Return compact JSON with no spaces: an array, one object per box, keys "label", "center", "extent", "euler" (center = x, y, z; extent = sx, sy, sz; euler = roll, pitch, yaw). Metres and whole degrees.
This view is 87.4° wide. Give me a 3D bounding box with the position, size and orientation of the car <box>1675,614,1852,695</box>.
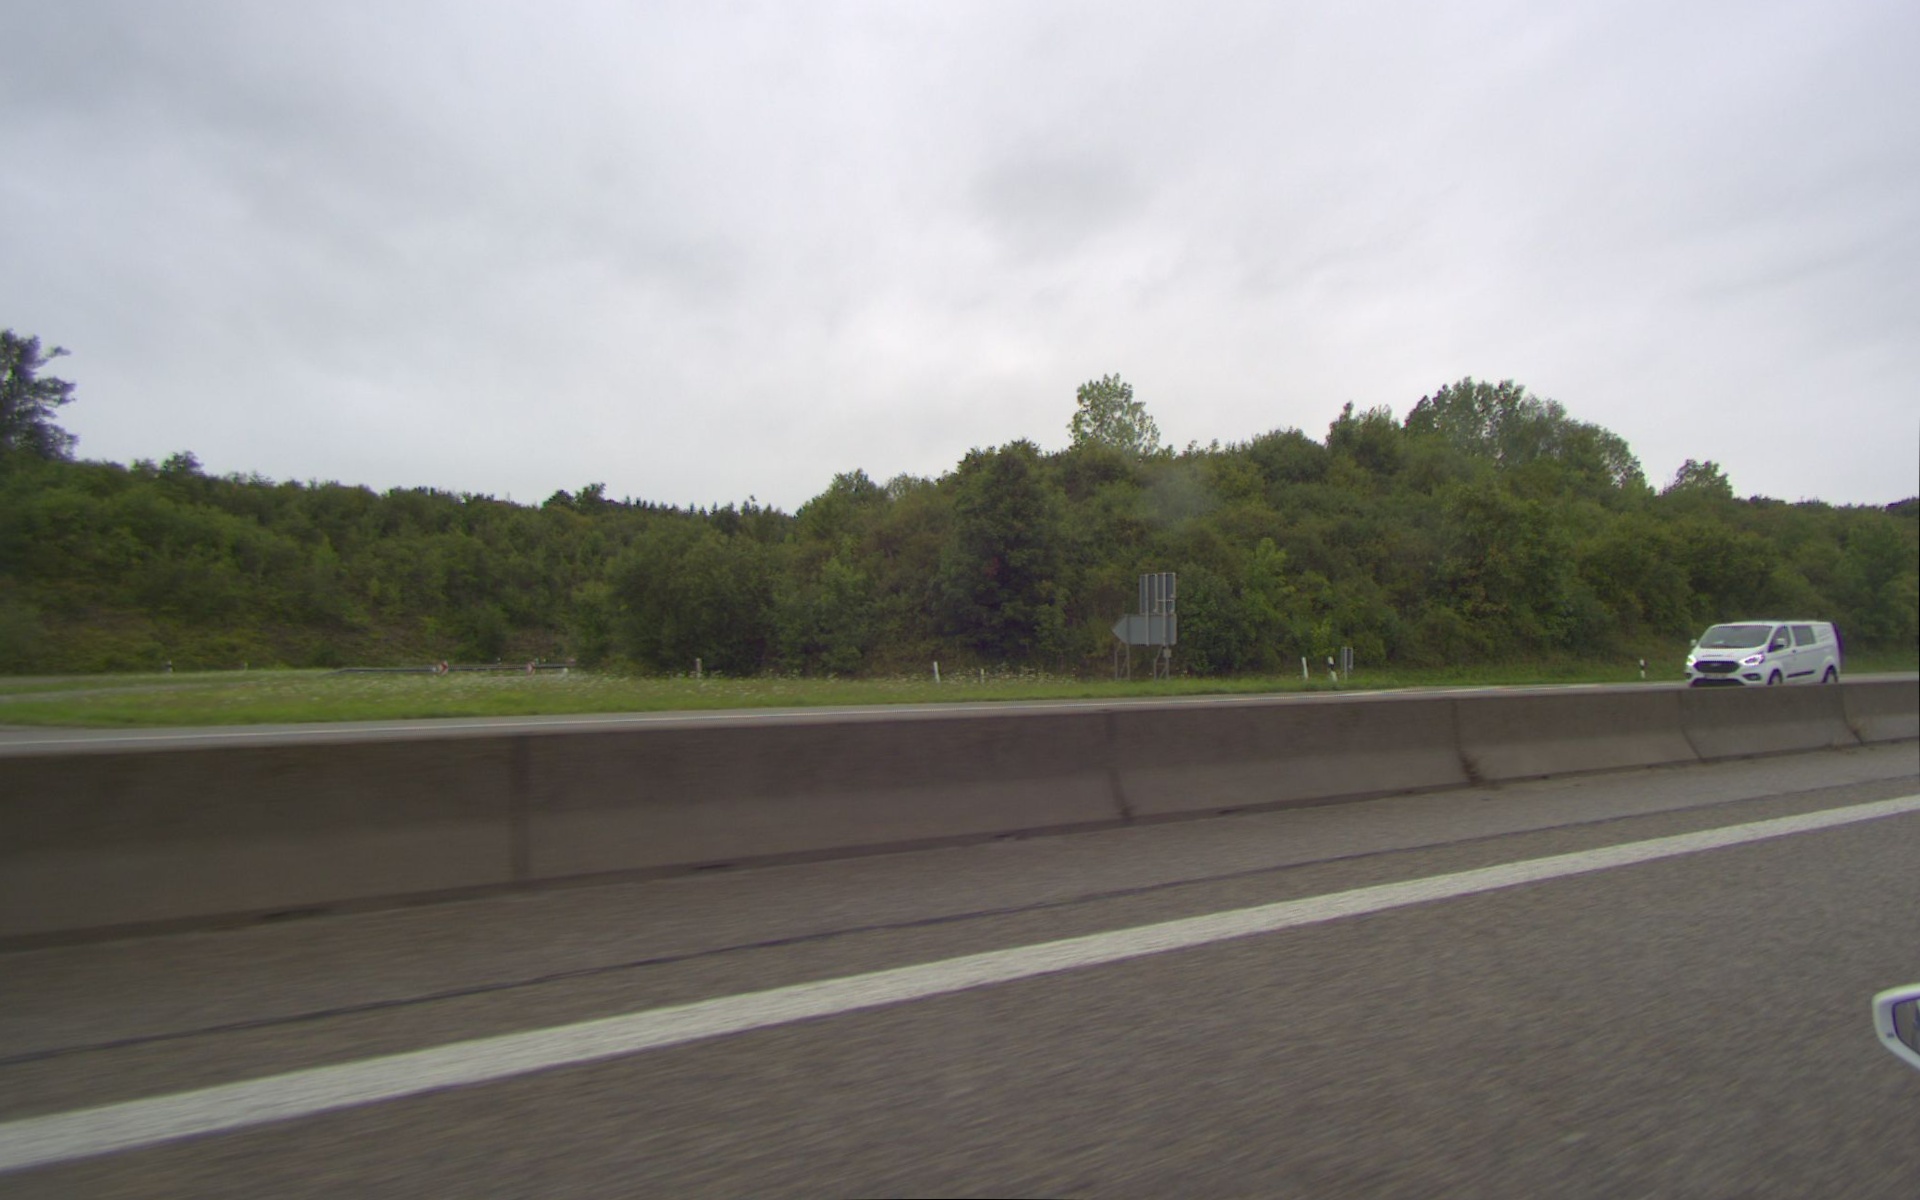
[{"label":"car","center":[22.669,1.530,28.263],"extent":[5.695,2.040,1.983],"euler":[2,0,-31]}]
